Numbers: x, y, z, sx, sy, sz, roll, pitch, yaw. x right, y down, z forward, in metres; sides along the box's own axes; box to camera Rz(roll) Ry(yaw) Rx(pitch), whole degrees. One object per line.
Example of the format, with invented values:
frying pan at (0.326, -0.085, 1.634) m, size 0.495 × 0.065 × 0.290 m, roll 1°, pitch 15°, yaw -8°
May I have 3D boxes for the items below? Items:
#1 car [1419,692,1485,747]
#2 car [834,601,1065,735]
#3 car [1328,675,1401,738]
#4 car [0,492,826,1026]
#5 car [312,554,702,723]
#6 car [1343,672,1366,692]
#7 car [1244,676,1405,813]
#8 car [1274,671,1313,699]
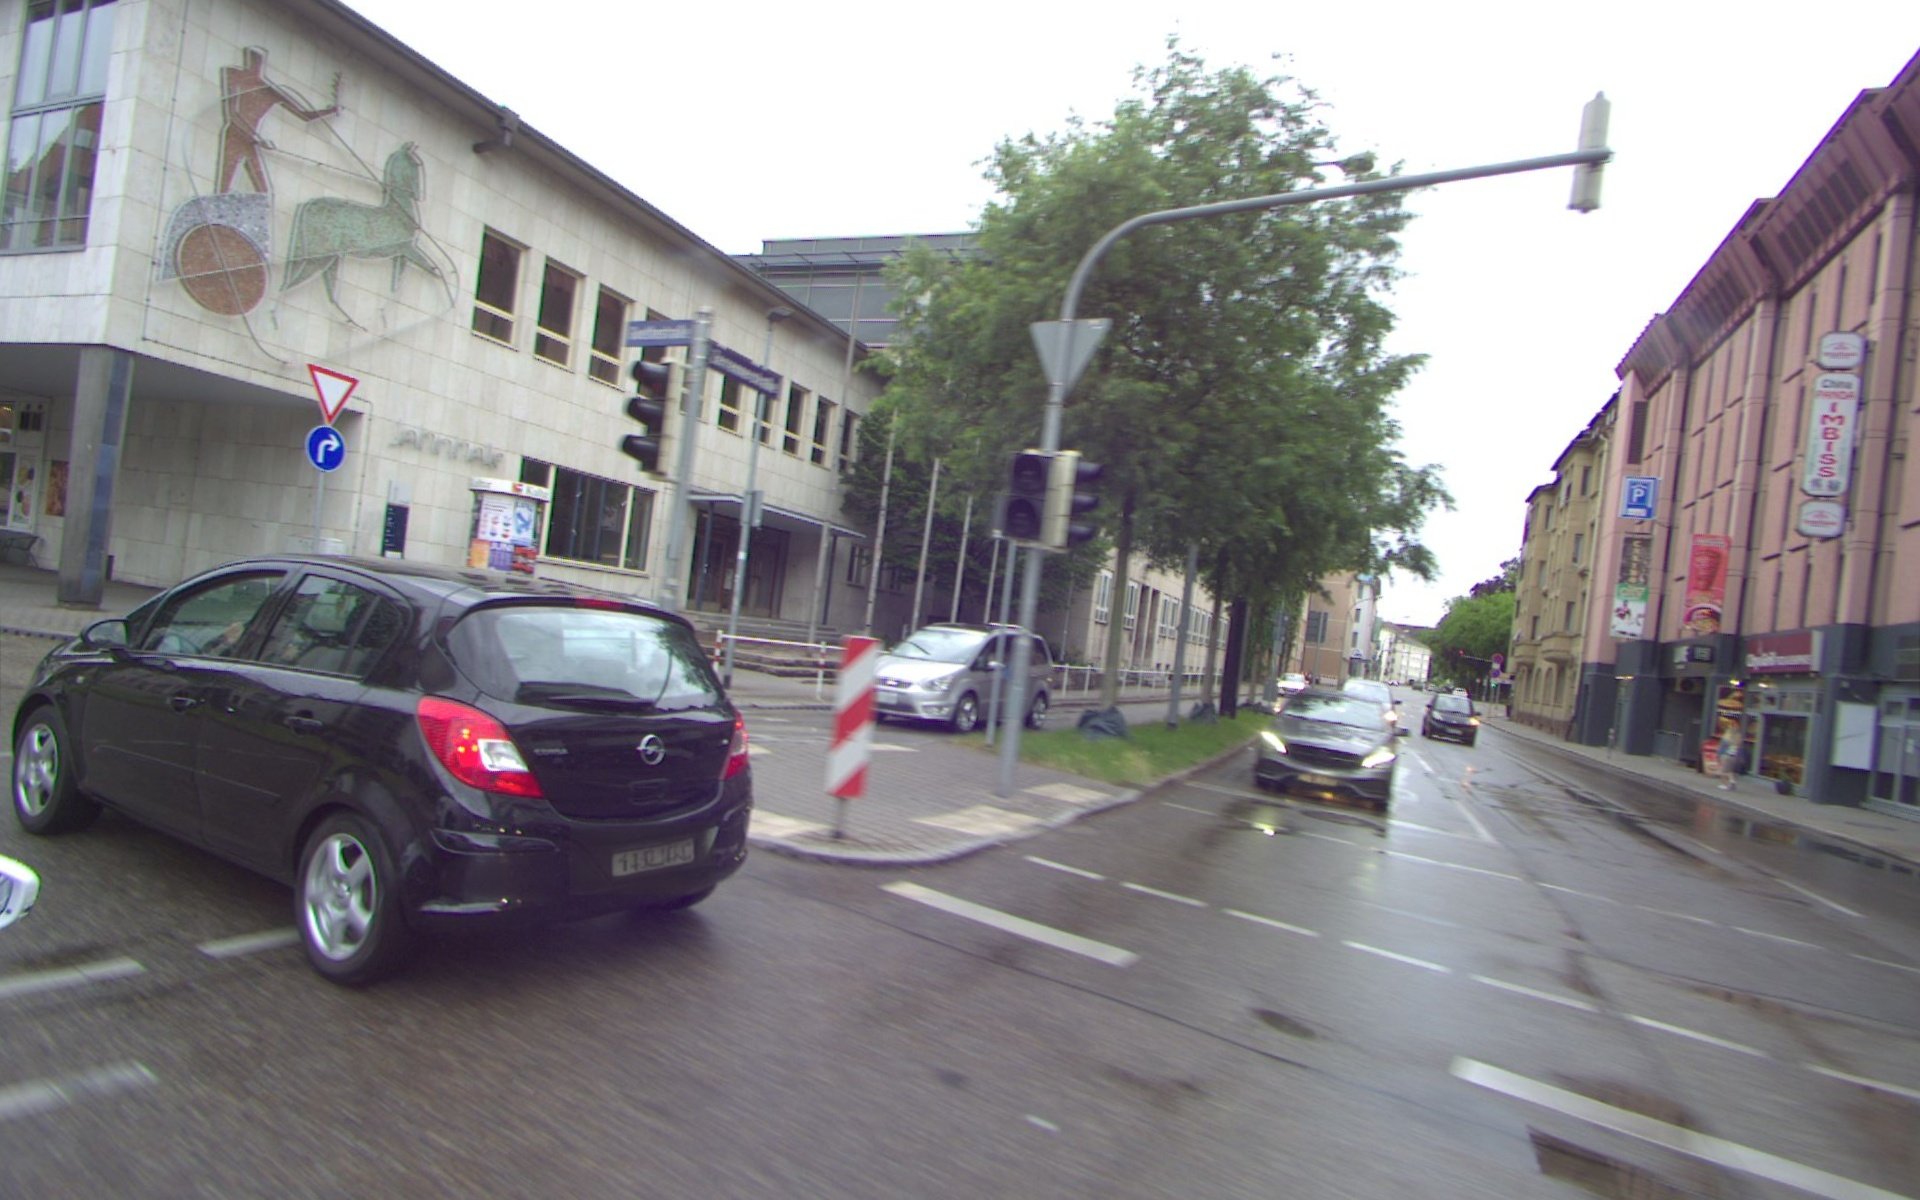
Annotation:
car at (16.901, 4.155, 34.705) m, size 1.775 × 1.567 × 4.006 m, roll 4°, pitch -5°, yaw 24°
car at (0.005, 1.171, 16.941) m, size 1.824 × 1.780 × 4.606 m, roll 5°, pitch -2°, yaw 27°
car at (12.800, 3.295, 31.698) m, size 1.852 × 1.615 × 3.999 m, roll 7°, pitch -1°, yaw 24°
car at (-2.707, 0.487, 4.737) m, size 3.678 × 1.473 × 1.713 m, roll 7°, pitch -3°, yaw 29°
car at (-5.502, 0.512, 12.368) m, size 3.966 × 1.493 × 1.982 m, roll 9°, pitch -3°, yaw -35°
car at (36.685, 7.630, 93.519) m, size 1.770 × 1.485 × 4.004 m, roll 6°, pitch -4°, yaw 23°
car at (5.362, 1.955, 14.549) m, size 1.755 × 1.436 × 4.274 m, roll 7°, pitch -2°, yaw 23°
car at (20.668, 5.265, 62.292) m, size 1.770 × 1.487 × 3.999 m, roll 6°, pitch -2°, yaw 24°
